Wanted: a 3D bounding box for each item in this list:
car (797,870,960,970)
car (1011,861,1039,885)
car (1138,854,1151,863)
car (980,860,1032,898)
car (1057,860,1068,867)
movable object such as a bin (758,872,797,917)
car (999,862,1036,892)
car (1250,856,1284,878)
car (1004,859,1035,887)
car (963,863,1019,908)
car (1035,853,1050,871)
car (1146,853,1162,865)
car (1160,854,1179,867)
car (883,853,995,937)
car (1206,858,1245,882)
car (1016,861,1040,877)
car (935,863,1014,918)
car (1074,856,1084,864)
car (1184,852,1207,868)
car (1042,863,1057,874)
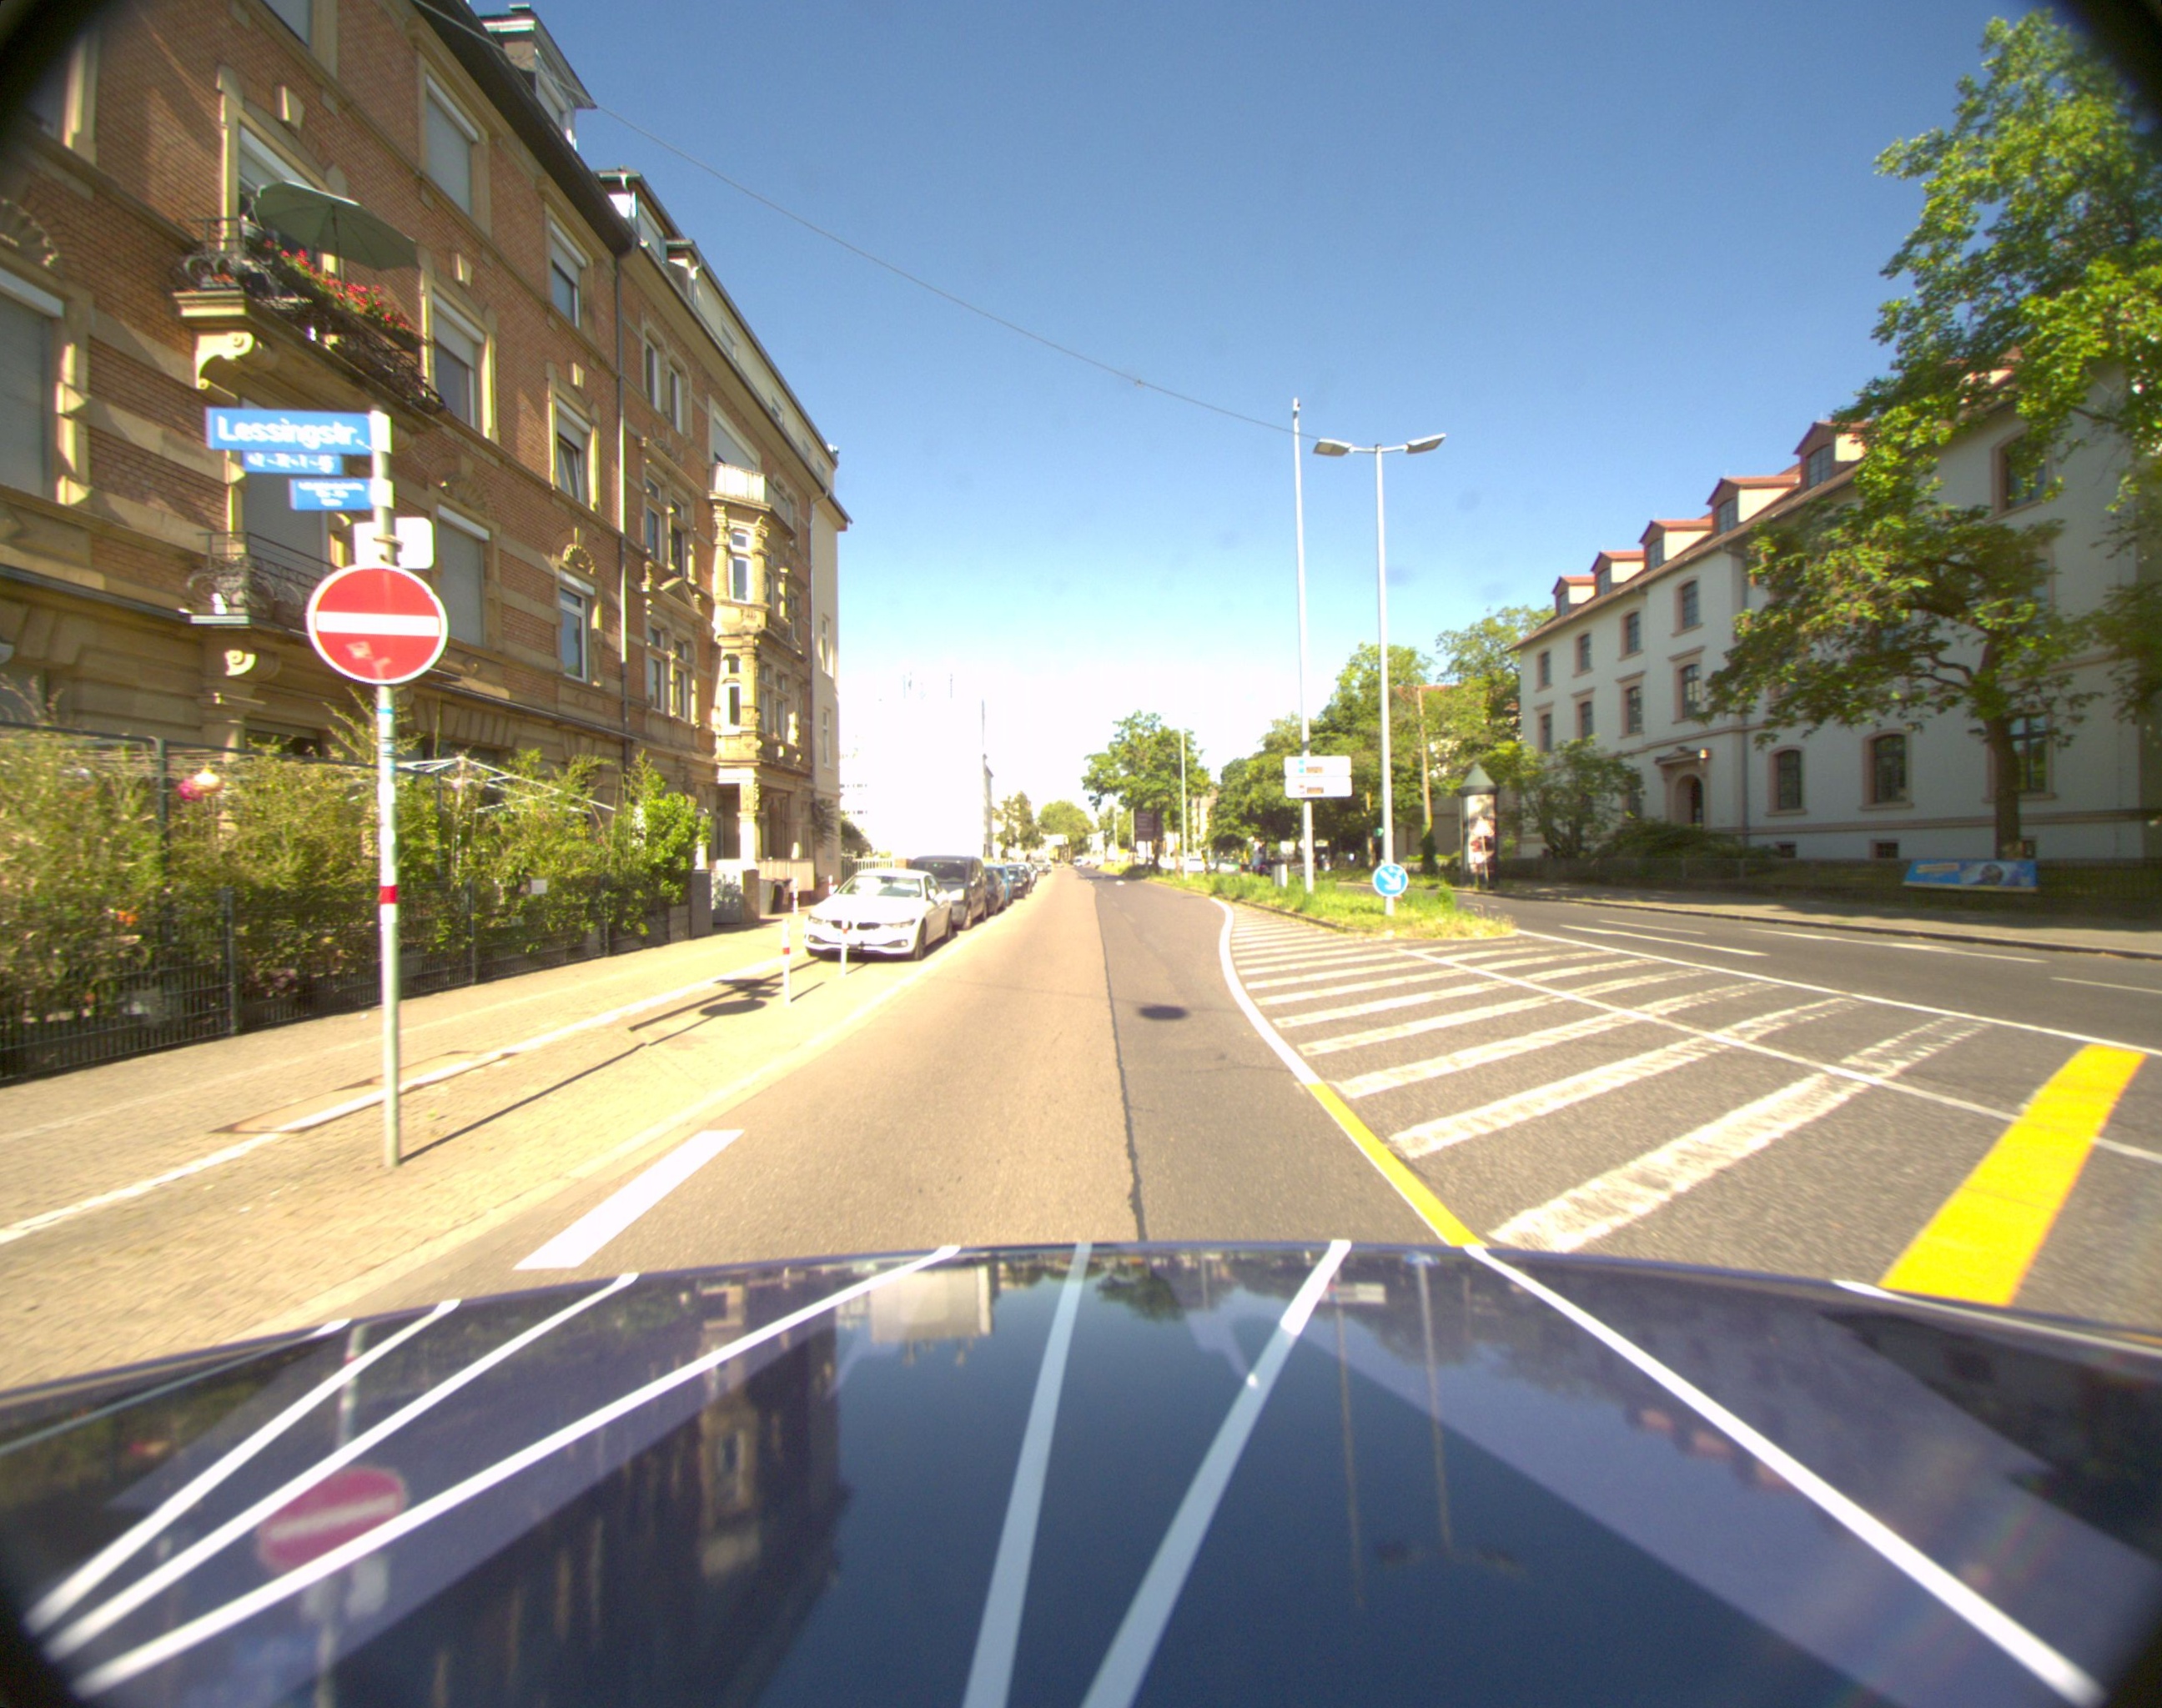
[{"bbox_3d":[-3.370,1.035,13.489,1.714,1.417,4.206,1,0,0],"label":"car"},{"bbox_3d":[-3.523,1.180,48.259,1.613,1.437,3.658,2,0,-2],"label":"car"},{"bbox_3d":[10.727,0.735,128.786,1.800,1.510,4.257,-1,0,-2],"label":"car"},{"bbox_3d":[-3.205,1.031,33.208,1.940,1.510,4.483,-1,0,-2],"label":"car"},{"bbox_3d":[-4.332,2.164,177.537,1.882,1.510,4.001,-2,0,6],"label":"car"},{"bbox_3d":[-8.415,1.110,21.058,0.760,1.150,0.608,-2,3,1],"label":"movable object such as a bin"},{"bbox_3d":[-3.156,1.134,38.297,1.672,1.385,3.774,-1,0,-2],"label":"car"},{"bbox_3d":[14.490,0.981,59.429,1.800,1.510,4.424,-2,0,3],"label":"car"},{"bbox_3d":[-3.496,1.063,43.651,1.673,1.510,3.660,-1,0,-4],"label":"car"},{"bbox_3d":[-3.280,1.122,28.194,1.626,1.462,3.298,-5,0,-2],"label":"car"},{"bbox_3d":[-4.459,0.859,88.328,1.664,2.002,4.775,0,0,-1],"label":"car"},{"bbox_3d":[10.730,0.733,111.570,1.800,1.510,4.256,-2,2,-1],"label":"car"},{"bbox_3d":[11.041,0.809,95.050,1.843,1.510,4.666,-1,0,0],"label":"car"},{"bbox_3d":[-3.391,0.913,18.944,1.823,1.833,4.365,-1,0,2],"label":"car"},{"bbox_3d":[9.498,1.012,50.283,1.642,1.510,4.257,-1,0,-2],"label":"car"},{"bbox_3d":[-4.009,1.123,58.036,1.672,1.175,3.900,2,0,-3],"label":"car"},{"bbox_3d":[-3.205,1.063,23.671,1.672,1.459,4.275,-2,0,2],"label":"car"},{"bbox_3d":[-0.373,1.324,178.672,1.882,1.511,3.999,-2,3,6],"label":"car"},{"bbox_3d":[11.622,0.614,77.384,1.905,1.616,4.538,0,0,4],"label":"car"},{"bbox_3d":[-4.527,2.091,109.873,1.641,1.439,4.158,-1,-2,5],"label":"car"}]
